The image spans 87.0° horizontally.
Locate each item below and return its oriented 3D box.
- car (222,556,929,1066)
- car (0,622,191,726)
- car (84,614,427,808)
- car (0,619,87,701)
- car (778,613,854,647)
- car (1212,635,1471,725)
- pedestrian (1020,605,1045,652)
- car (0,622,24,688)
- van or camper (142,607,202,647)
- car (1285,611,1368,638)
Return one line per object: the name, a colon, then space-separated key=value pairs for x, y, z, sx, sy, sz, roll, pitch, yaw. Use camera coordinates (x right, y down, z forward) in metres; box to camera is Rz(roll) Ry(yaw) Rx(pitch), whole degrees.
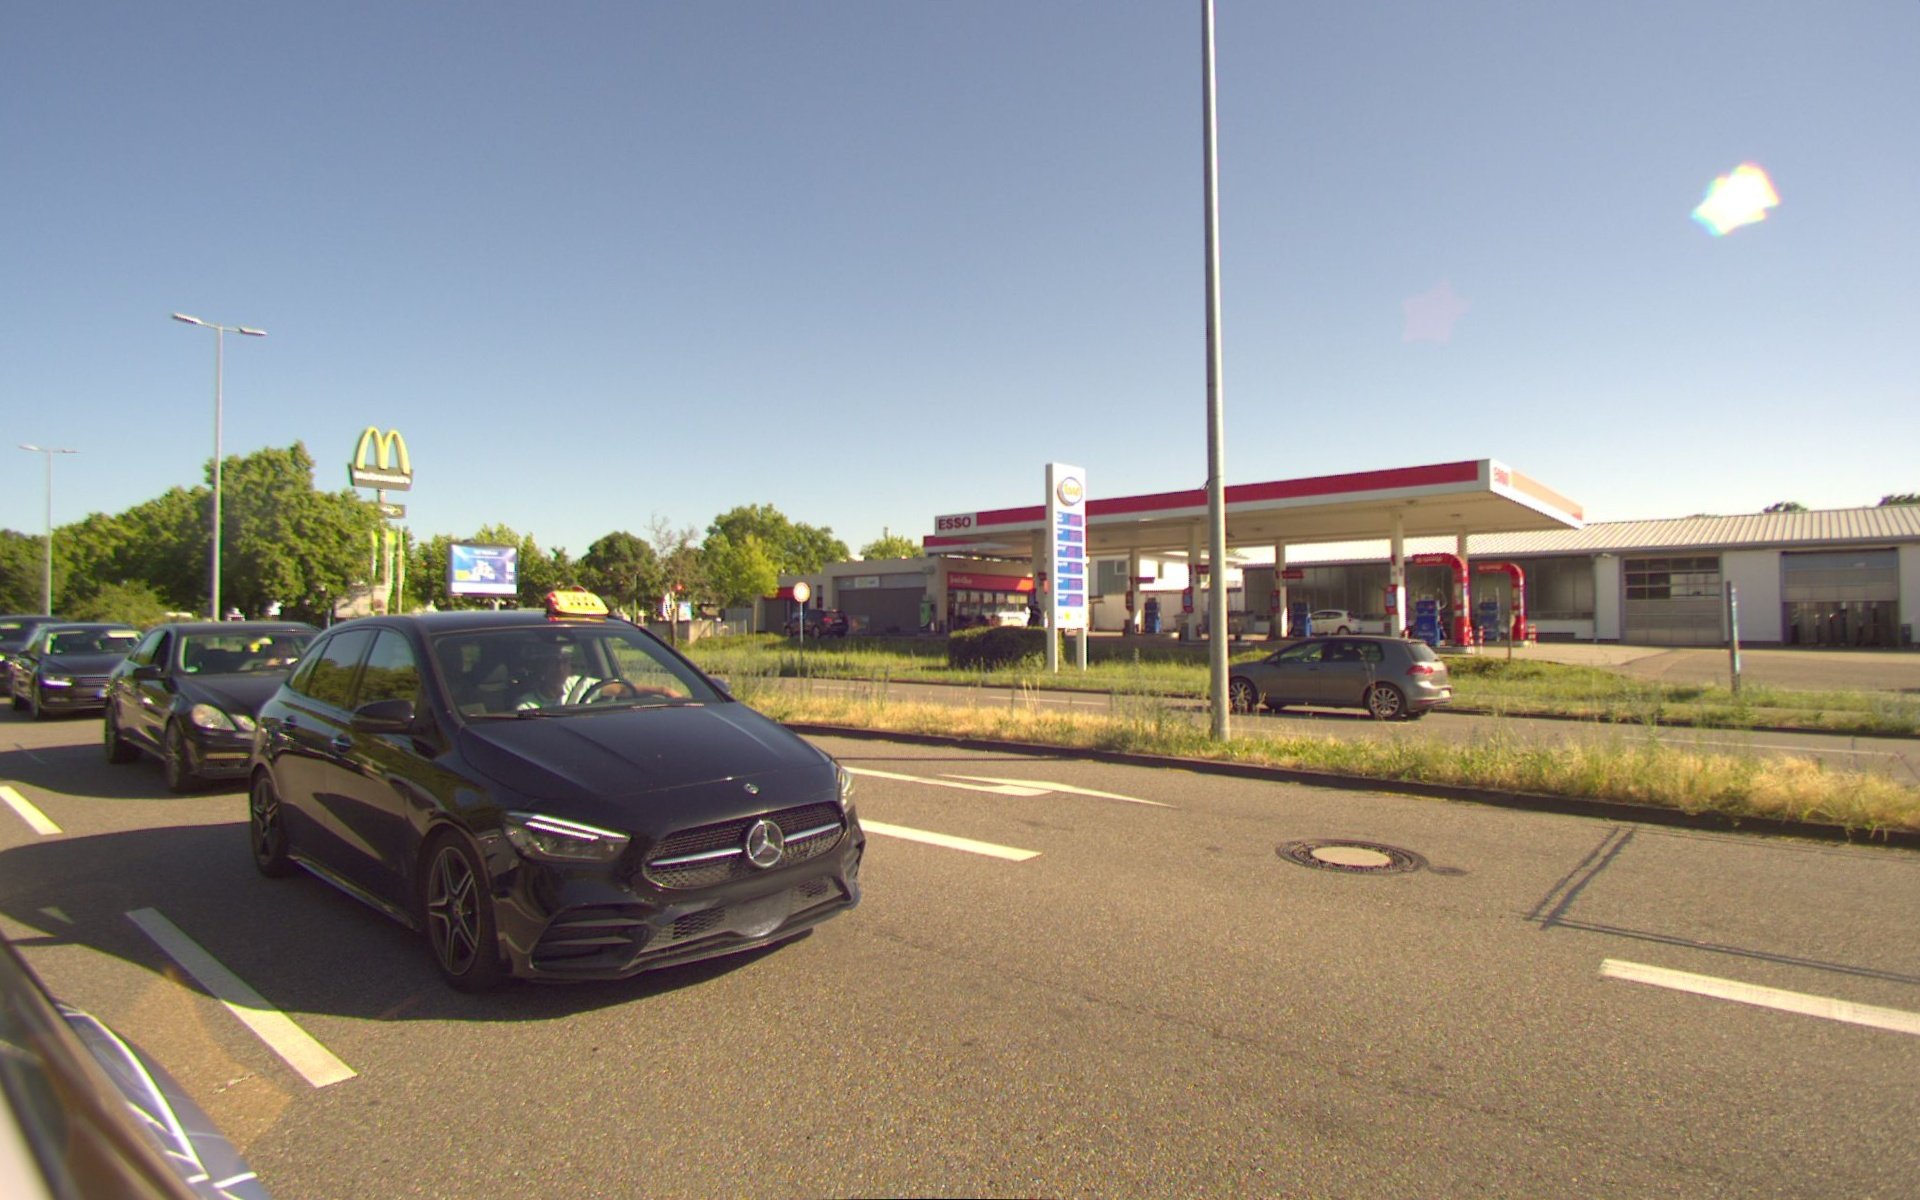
car: x=-2.288 y=0.731 z=5.340 sx=4.187 sy=1.638 sz=1.780 roll=-2 pitch=-2 yaw=42
car: x=-14.429 y=1.127 z=16.775 sx=4.401 sy=1.492 sz=1.838 roll=-2 pitch=-2 yaw=41
car: x=-7.219 y=0.934 z=10.189 sx=4.401 sy=1.535 sz=1.838 roll=-2 pitch=-2 yaw=41
car: x=-20.229 y=1.229 z=21.579 sx=4.401 sy=1.600 sz=1.838 roll=-2 pitch=-2 yaw=41
car: x=-7.869 y=1.630 z=55.073 sx=4.117 sy=1.783 sz=1.972 roll=-2 pitch=-1 yaw=43
car: x=6.848 y=1.379 z=18.413 sx=4.048 sy=1.440 sz=1.800 roll=-2 pitch=-4 yaw=41
pedestrian: x=3.218 y=1.267 z=44.779 sx=0.840 sy=2.029 sz=0.694 roll=-2 pitch=-2 yaw=41
car: x=-25.583 y=1.396 z=25.984 sx=4.401 sy=1.600 sz=1.838 roll=-2 pitch=-2 yaw=41
van or camper: x=-53.460 y=1.794 z=68.608 sx=6.754 sy=2.592 sz=2.154 roll=-1 pitch=-2 yaw=43
car: x=19.846 y=1.326 z=54.870 sx=3.844 sy=1.450 sz=1.730 roll=-2 pitch=-2 yaw=39
